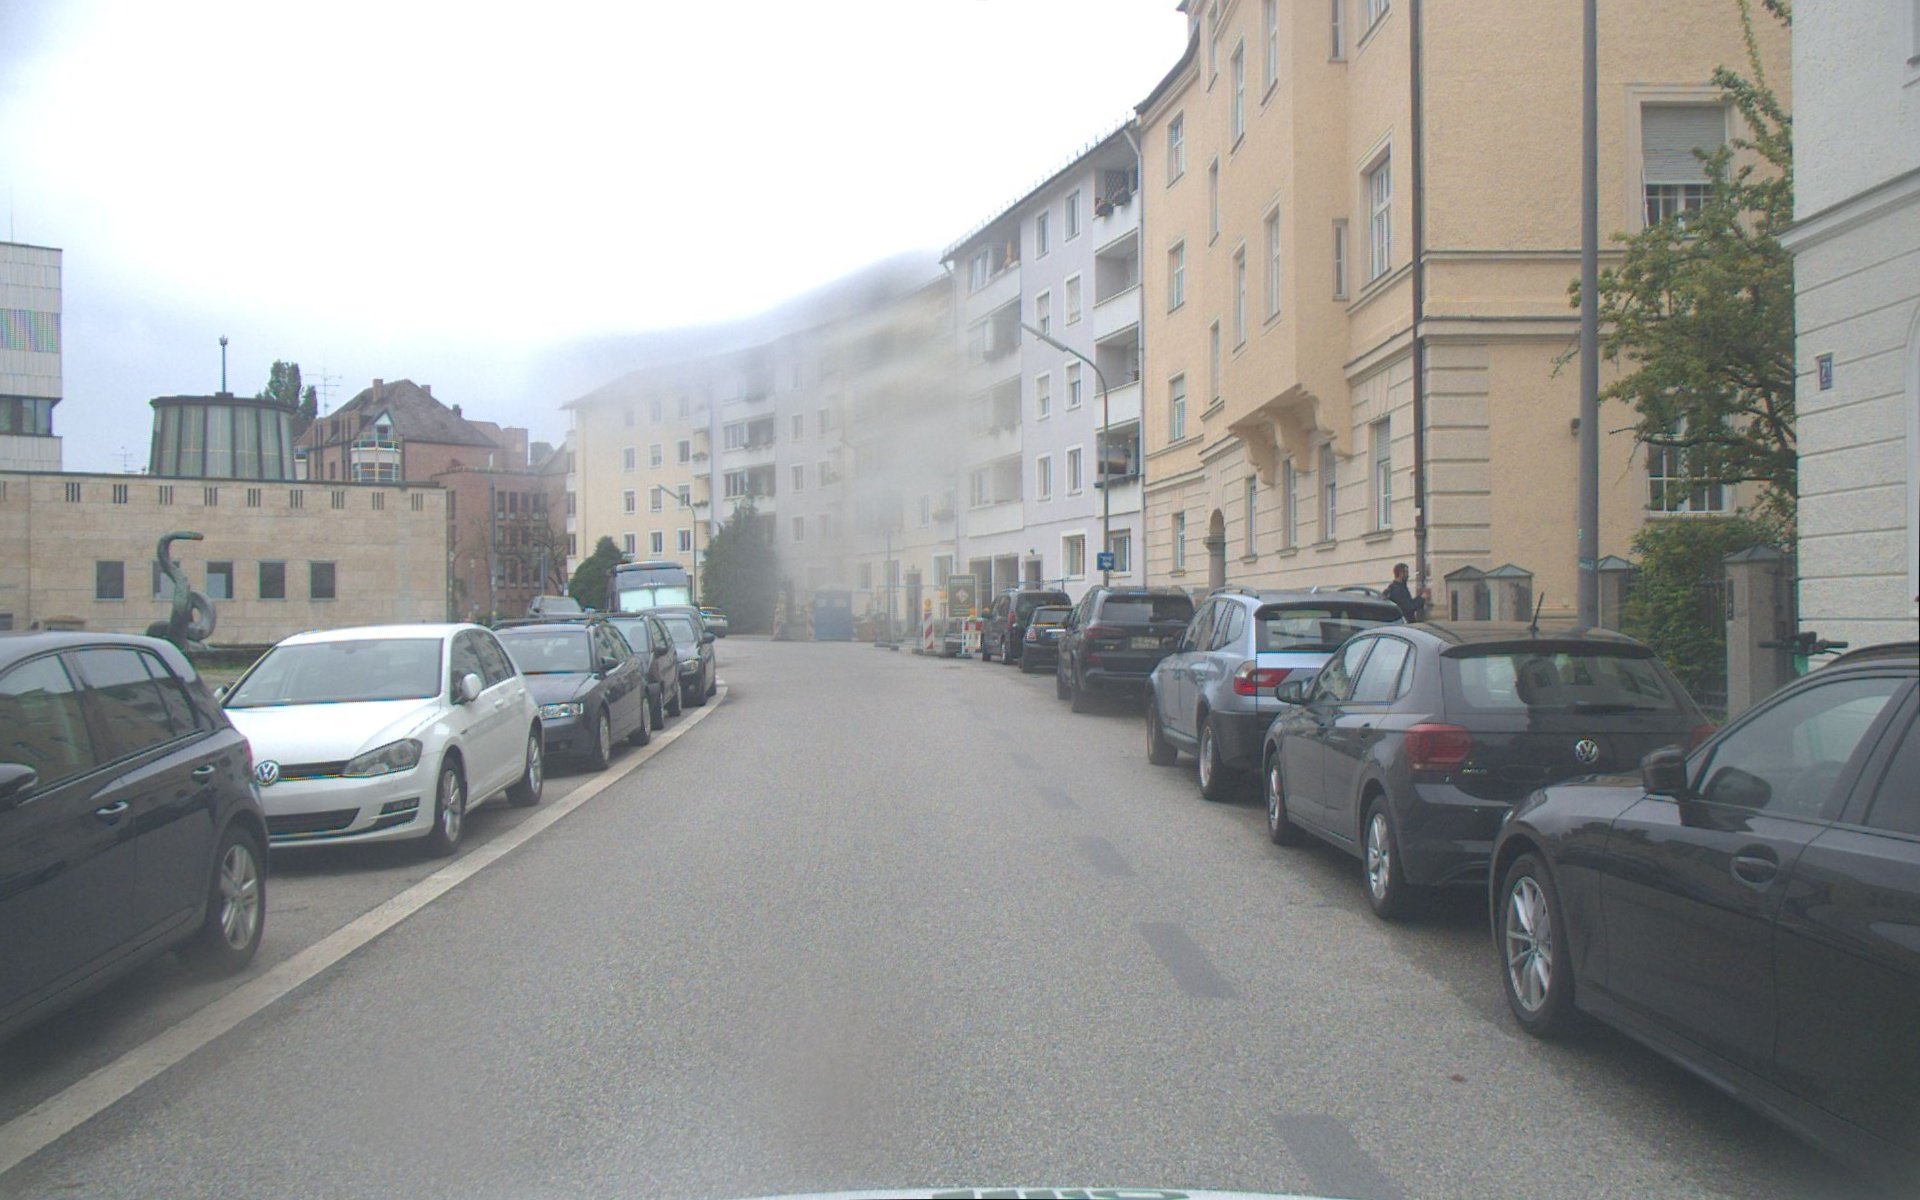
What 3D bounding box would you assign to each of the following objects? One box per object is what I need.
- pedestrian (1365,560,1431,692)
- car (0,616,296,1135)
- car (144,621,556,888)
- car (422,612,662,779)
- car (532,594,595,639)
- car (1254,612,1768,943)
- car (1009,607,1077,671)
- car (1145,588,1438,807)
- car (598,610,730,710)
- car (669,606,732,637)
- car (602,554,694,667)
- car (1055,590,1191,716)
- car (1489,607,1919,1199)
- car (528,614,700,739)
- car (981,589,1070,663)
[{"bbox_3d":[5.840,0.345,22.097,0.653,1.722,0.690,2,-1,-1],"label":"pedestrian"},{"bbox_3d":[-3.718,0.854,5.520,1.591,1.535,3.978,-2,0,-4],"label":"car"},{"bbox_3d":[-3.981,0.910,11.486,1.591,1.444,3.978,-2,0,-4],"label":"car"},{"bbox_3d":[-4.121,0.872,16.905,1.591,1.444,3.979,-2,0,-3],"label":"car"},{"bbox_3d":[-15.346,0.631,63.937,1.581,1.677,3.111,2,-1,-28],"label":"car"},{"bbox_3d":[2.860,0.828,9.459,1.558,1.457,3.824,1,0,-2],"label":"car"},{"bbox_3d":[1.776,0.825,36.032,1.246,1.321,2.796,0,0,-2],"label":"car"},{"bbox_3d":[2.706,0.726,14.448,1.558,1.610,4.297,1,0,-2],"label":"car"},{"bbox_3d":[-4.672,0.901,26.481,1.591,1.444,3.646,-2,0,-3],"label":"car"},{"bbox_3d":[-13.578,1.101,86.491,1.685,1.586,3.531,0,0,-40],"label":"car"},{"bbox_3d":[-7.926,0.262,41.731,1.744,2.700,3.978,0,0,-19],"label":"car"},{"bbox_3d":[2.302,0.709,24.113,1.444,1.669,3.999,1,0,-2],"label":"car"},{"bbox_3d":[2.919,0.774,4.291,1.558,1.457,4.419,1,0,-2],"label":"car"},{"bbox_3d":[-4.493,0.940,21.971,1.591,1.444,3.979,-2,0,-3],"label":"car"},{"bbox_3d":[1.592,0.627,41.026,1.573,1.745,3.082,1,0,-10],"label":"car"}]
